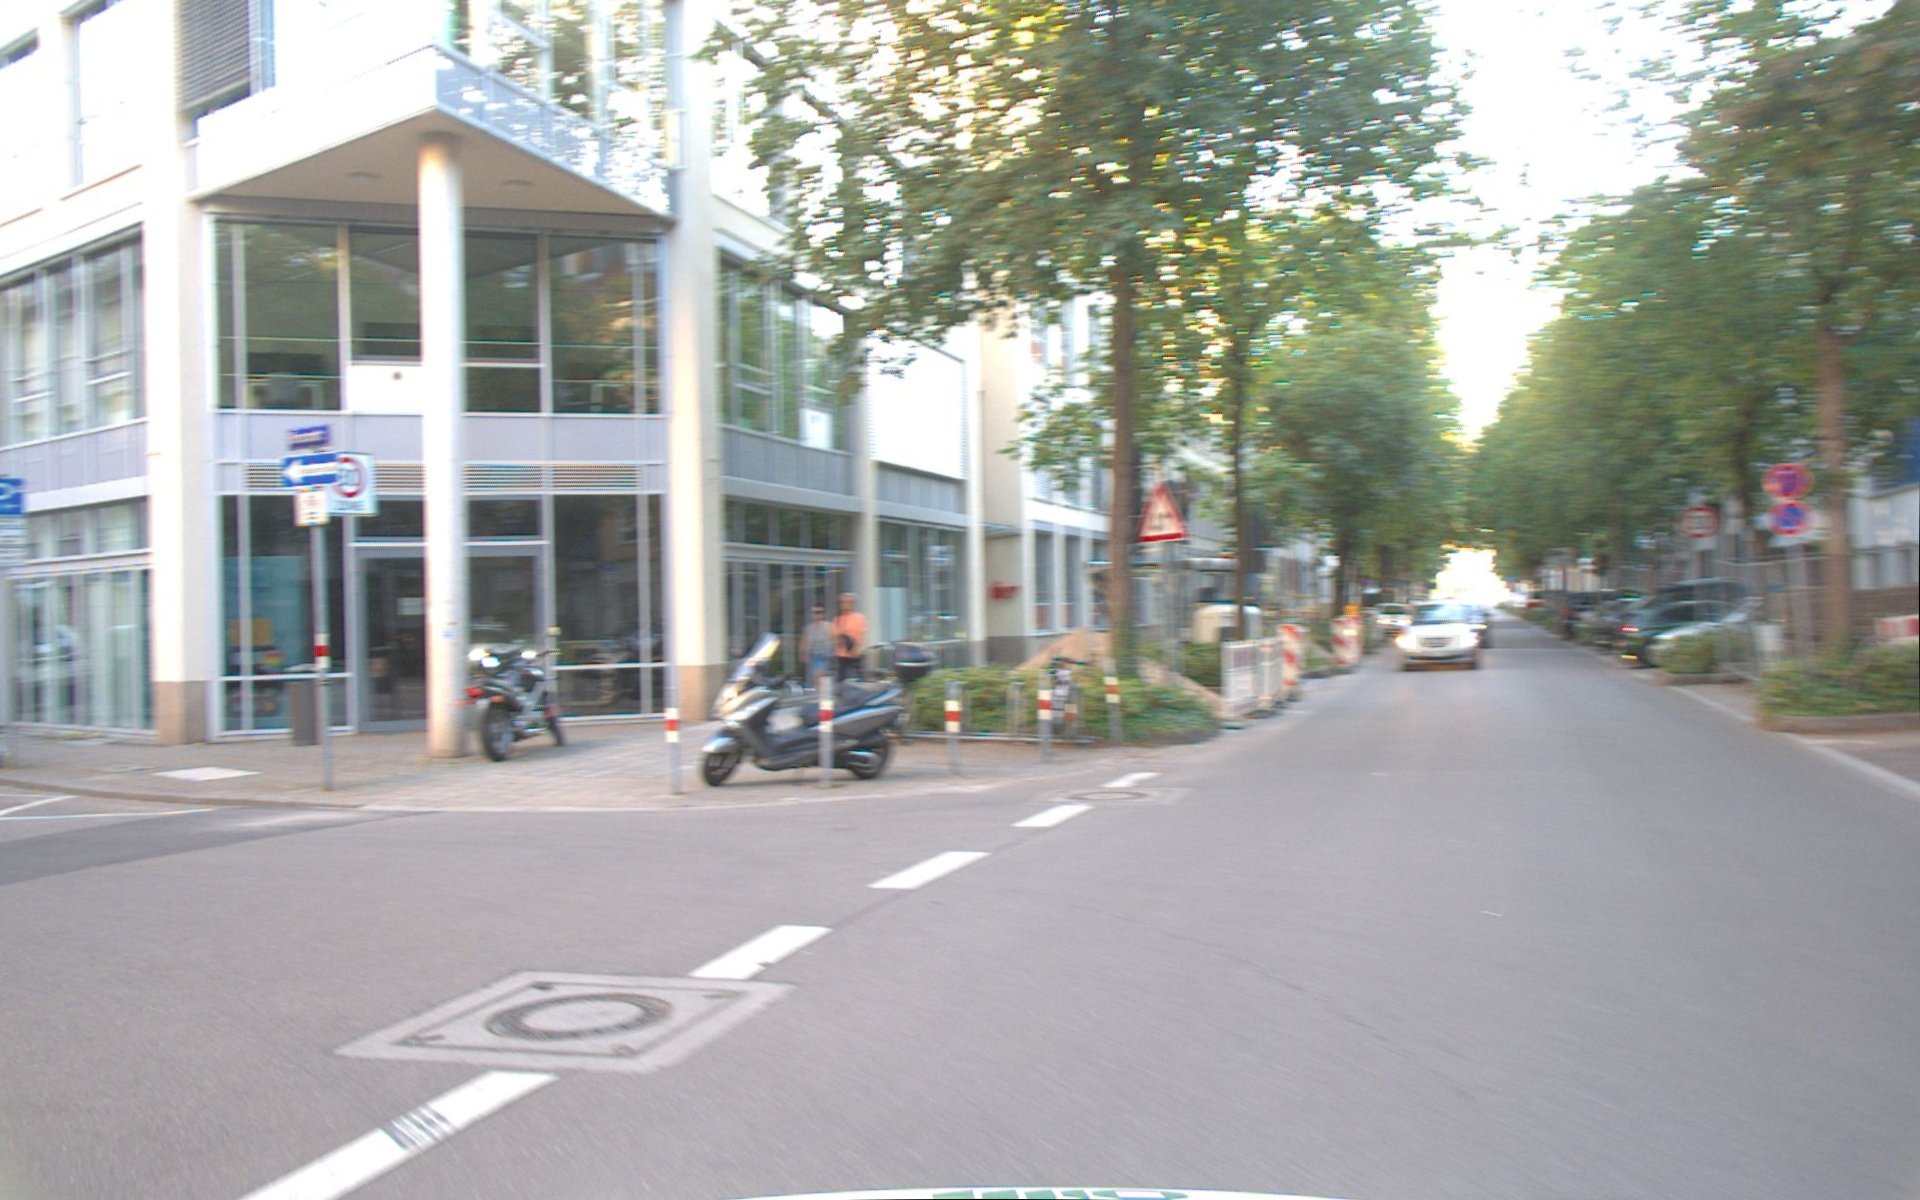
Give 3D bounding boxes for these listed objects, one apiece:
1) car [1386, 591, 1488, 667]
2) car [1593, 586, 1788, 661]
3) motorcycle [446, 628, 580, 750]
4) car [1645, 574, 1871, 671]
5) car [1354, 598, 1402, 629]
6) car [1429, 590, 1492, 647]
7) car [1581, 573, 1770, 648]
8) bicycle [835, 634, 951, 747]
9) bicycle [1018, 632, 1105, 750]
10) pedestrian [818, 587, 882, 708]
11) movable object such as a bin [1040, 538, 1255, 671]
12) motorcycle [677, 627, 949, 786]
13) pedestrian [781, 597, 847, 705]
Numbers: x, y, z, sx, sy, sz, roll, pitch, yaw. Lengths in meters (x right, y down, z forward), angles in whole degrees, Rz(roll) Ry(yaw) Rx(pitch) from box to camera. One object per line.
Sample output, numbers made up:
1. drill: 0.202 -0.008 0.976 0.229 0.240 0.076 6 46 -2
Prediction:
1. car: 11.432 0.651 39.458 1.968 1.641 4.120 -2 0 21
2. car: 16.724 0.537 38.083 3.903 1.613 2.001 -2 0 19
3. motorcycle: -4.879 0.939 18.227 0.544 1.192 2.310 -2 0 7
4. car: 16.057 0.463 33.494 3.904 1.836 2.000 -2 0 21
5. car: 18.976 0.581 75.178 1.951 1.310 4.003 -1 0 13
6. car: 16.911 0.593 55.963 1.908 1.743 4.705 -2 0 17
7. car: 20.030 0.284 46.512 4.638 2.049 2.001 0 0 16
8. bicycle: -0.747 1.016 19.090 0.668 1.173 1.982 -2 0 18
9. bicycle: 1.162 0.987 18.522 0.668 1.173 1.983 -2 0 12
10. pedestrian: -1.596 0.686 24.003 0.723 1.720 0.607 -2 -1 18
11. movable object such as a bin: 3.793 0.079 32.925 3.959 2.425 2.787 -2 0 11
12. motorcycle: -1.380 0.957 15.521 2.317 1.304 1.060 -2 0 -24
13. pedestrian: -2.156 0.751 24.399 0.753 1.562 0.643 -2 0 17
